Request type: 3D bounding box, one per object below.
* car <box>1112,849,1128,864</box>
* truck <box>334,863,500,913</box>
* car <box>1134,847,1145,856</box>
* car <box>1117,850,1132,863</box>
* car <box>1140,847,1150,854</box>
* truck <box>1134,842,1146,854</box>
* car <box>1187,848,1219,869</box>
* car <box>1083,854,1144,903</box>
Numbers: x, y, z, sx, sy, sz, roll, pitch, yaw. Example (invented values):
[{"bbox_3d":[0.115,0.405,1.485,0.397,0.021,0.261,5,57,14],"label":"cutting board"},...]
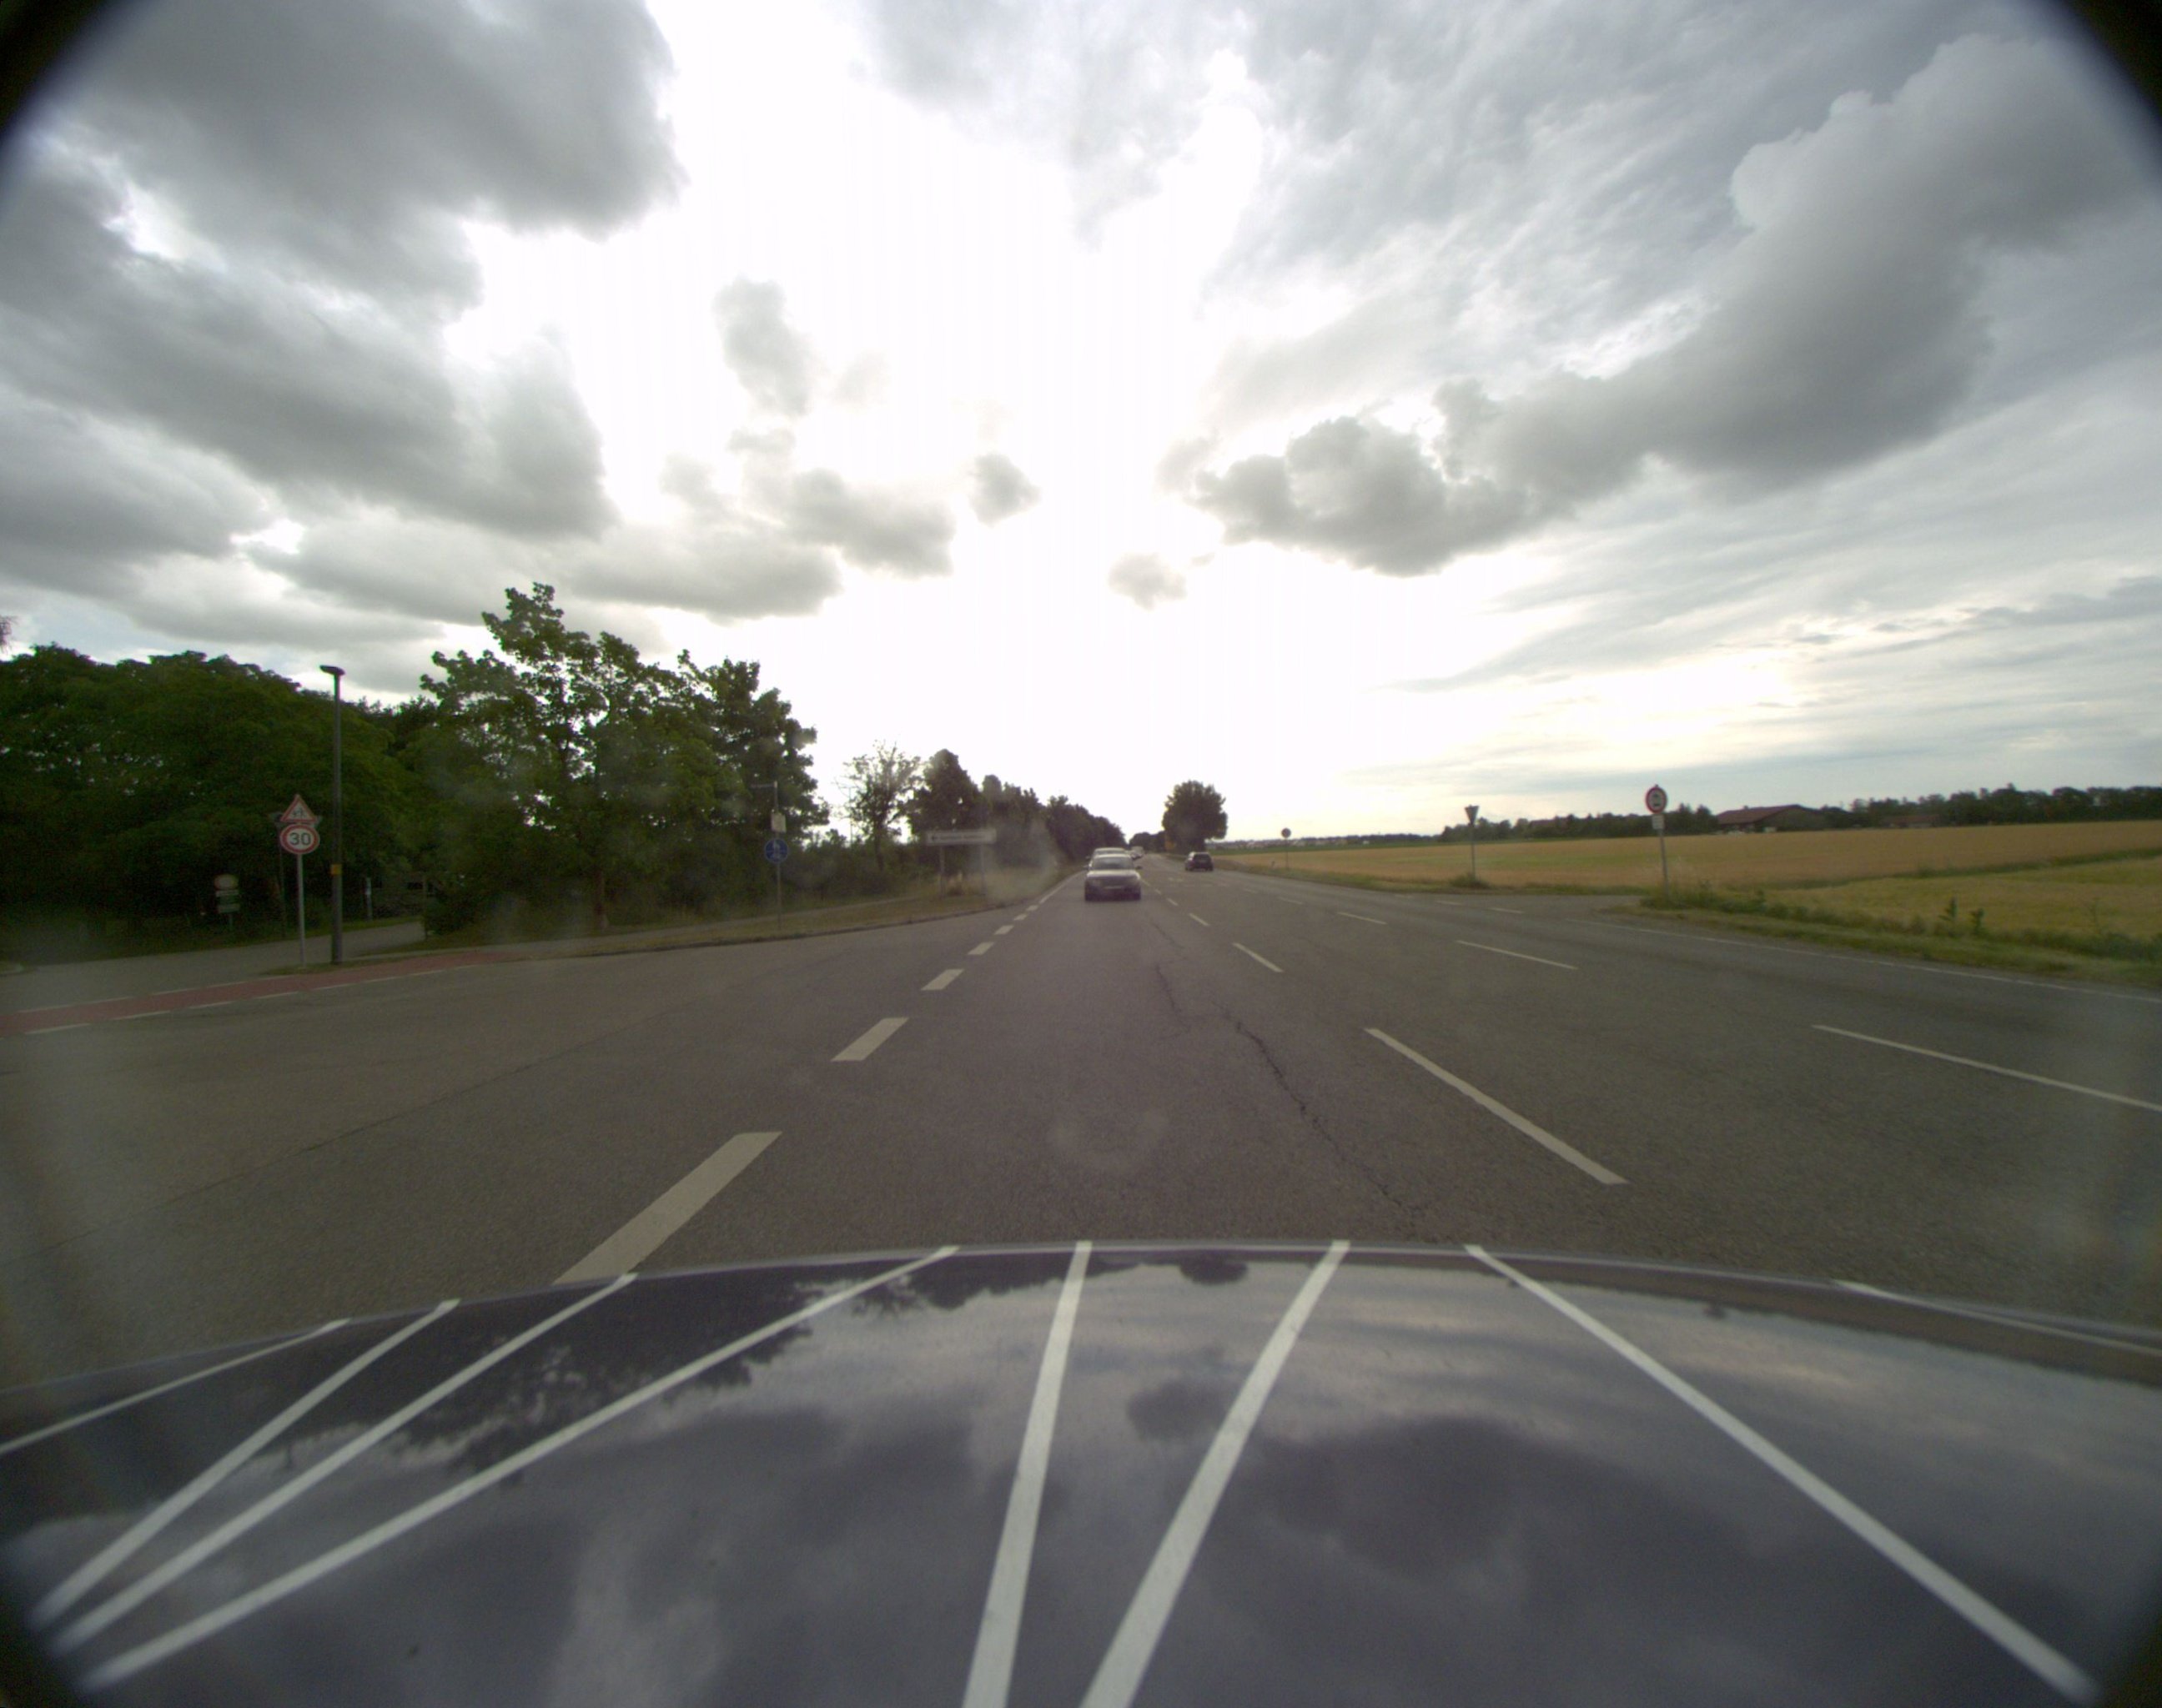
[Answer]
[{"bbox_3d":[4.497,0.292,87.140,1.793,1.573,4.368,-1,0,3],"label":"car"},{"bbox_3d":[-47.512,2.346,54.779,8.383,3.092,3.067,-2,1,-26],"label":"truck"},{"bbox_3d":[11.604,-0.489,150.554,1.793,1.573,4.139,-1,0,8],"label":"car"},{"bbox_3d":[5.485,0.299,96.332,1.793,1.573,4.188,-1,0,3],"label":"car"},{"bbox_3d":[13.953,-0.740,166.422,1.792,1.531,4.139,-1,0,9],"label":"car"},{"bbox_3d":[14.397,-1.428,184.910,2.320,2.749,7.672,-2,1,1],"label":"truck"},{"bbox_3d":[9.114,0.322,57.029,1.998,1.501,4.001,0,0,4],"label":"car"},{"bbox_3d":[1.053,0.746,25.063,1.793,1.415,4.367,-1,0,2],"label":"car"}]
